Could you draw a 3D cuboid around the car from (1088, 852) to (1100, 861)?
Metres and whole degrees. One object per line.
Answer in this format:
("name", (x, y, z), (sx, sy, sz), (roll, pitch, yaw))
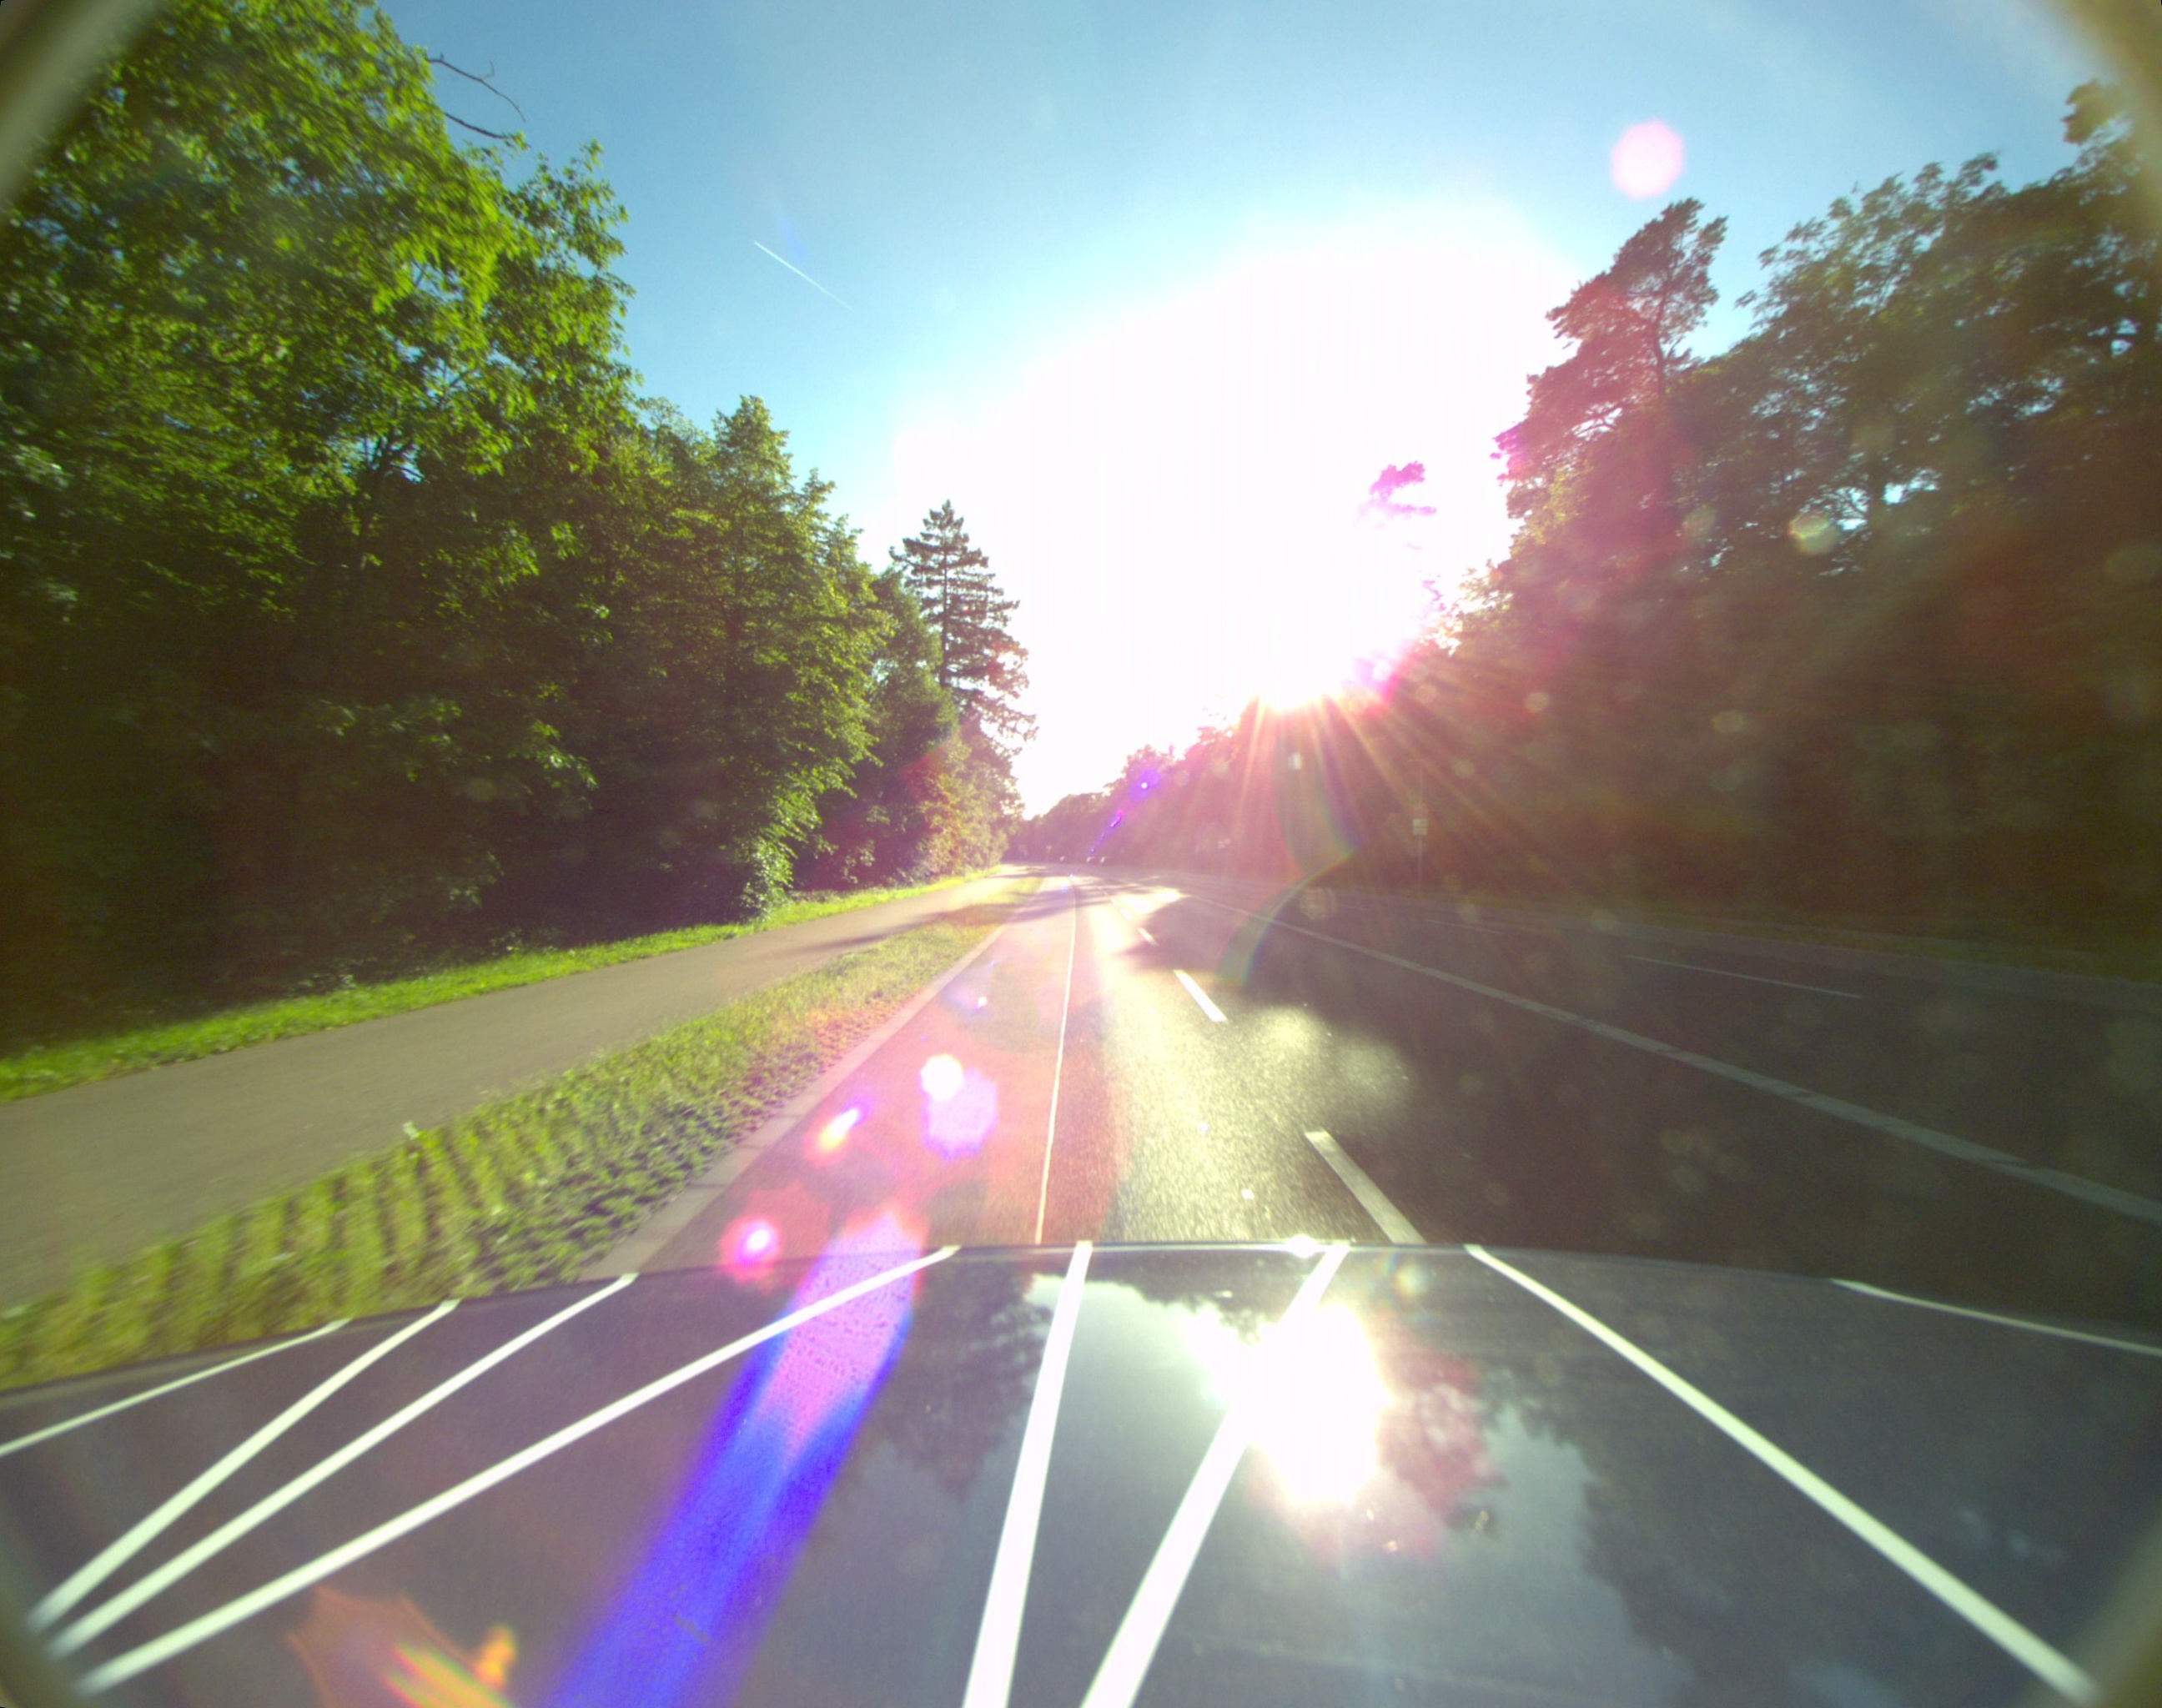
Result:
("car", (2.373, 0.422, 138.446), (1.744, 1.449, 3.997), (-3, 1, -5))

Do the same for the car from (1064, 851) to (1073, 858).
("car", (-3.003, 0.126, 181.045), (1.902, 1.601, 4.446), (-1, 0, -7))

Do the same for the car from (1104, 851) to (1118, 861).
("car", (4.803, 0.334, 120.928), (1.662, 1.472, 4.170), (-2, 0, -5))
